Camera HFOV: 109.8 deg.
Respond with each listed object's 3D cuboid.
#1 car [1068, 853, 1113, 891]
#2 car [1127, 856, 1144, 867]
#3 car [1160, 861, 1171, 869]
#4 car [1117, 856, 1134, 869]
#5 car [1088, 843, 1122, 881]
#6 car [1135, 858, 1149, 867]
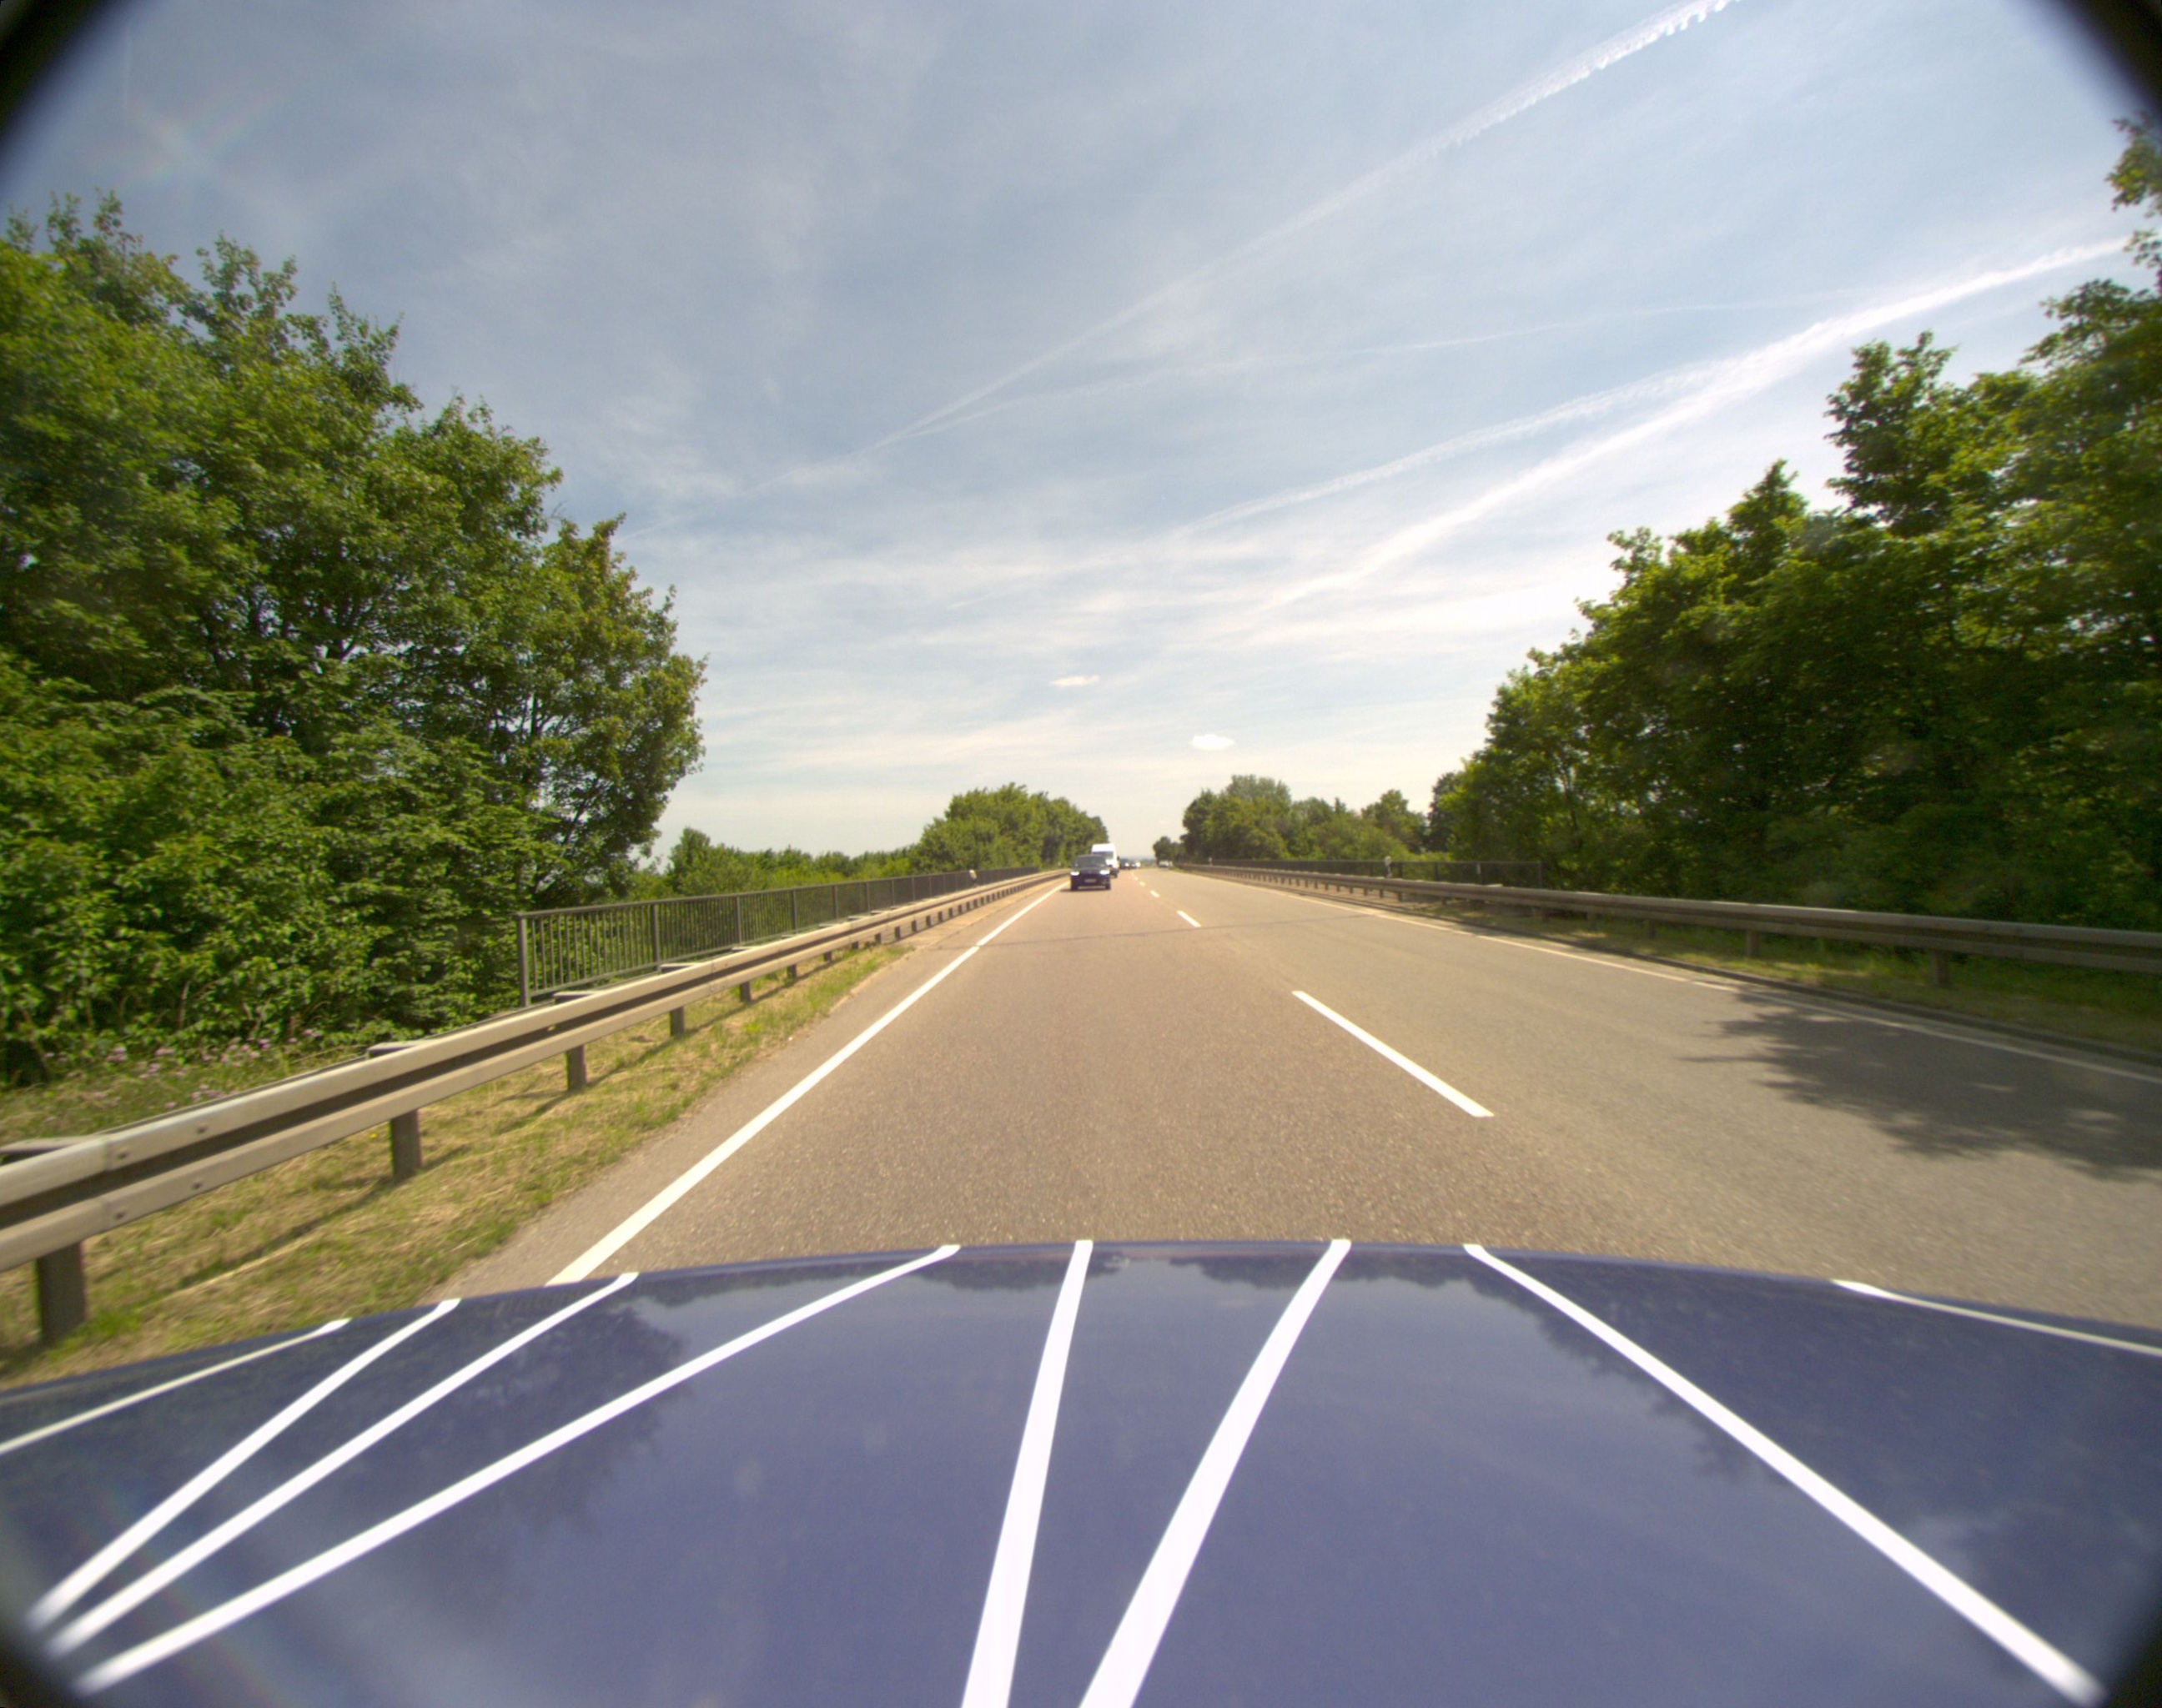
[{"bbox_3d":[0.509,0.834,38.429,2.039,1.691,5.513,-3,0,2],"label":"car"},{"bbox_3d":[8.738,1.194,121.763,2.037,1.641,4.749,-1,0,12],"label":"car"},{"bbox_3d":[17.442,2.203,155.892,1.882,1.502,4.547,-1,0,10],"label":"car"},{"bbox_3d":[6.243,1.147,105.819,2.038,1.641,4.747,-1,0,7],"label":"car"},{"bbox_3d":[1.896,0.553,58.394,2.225,2.617,5.753,-2,1,5],"label":"car"},{"bbox_3d":[11.481,1.546,142.682,2.037,1.641,4.749,-1,0,13],"label":"car"}]
